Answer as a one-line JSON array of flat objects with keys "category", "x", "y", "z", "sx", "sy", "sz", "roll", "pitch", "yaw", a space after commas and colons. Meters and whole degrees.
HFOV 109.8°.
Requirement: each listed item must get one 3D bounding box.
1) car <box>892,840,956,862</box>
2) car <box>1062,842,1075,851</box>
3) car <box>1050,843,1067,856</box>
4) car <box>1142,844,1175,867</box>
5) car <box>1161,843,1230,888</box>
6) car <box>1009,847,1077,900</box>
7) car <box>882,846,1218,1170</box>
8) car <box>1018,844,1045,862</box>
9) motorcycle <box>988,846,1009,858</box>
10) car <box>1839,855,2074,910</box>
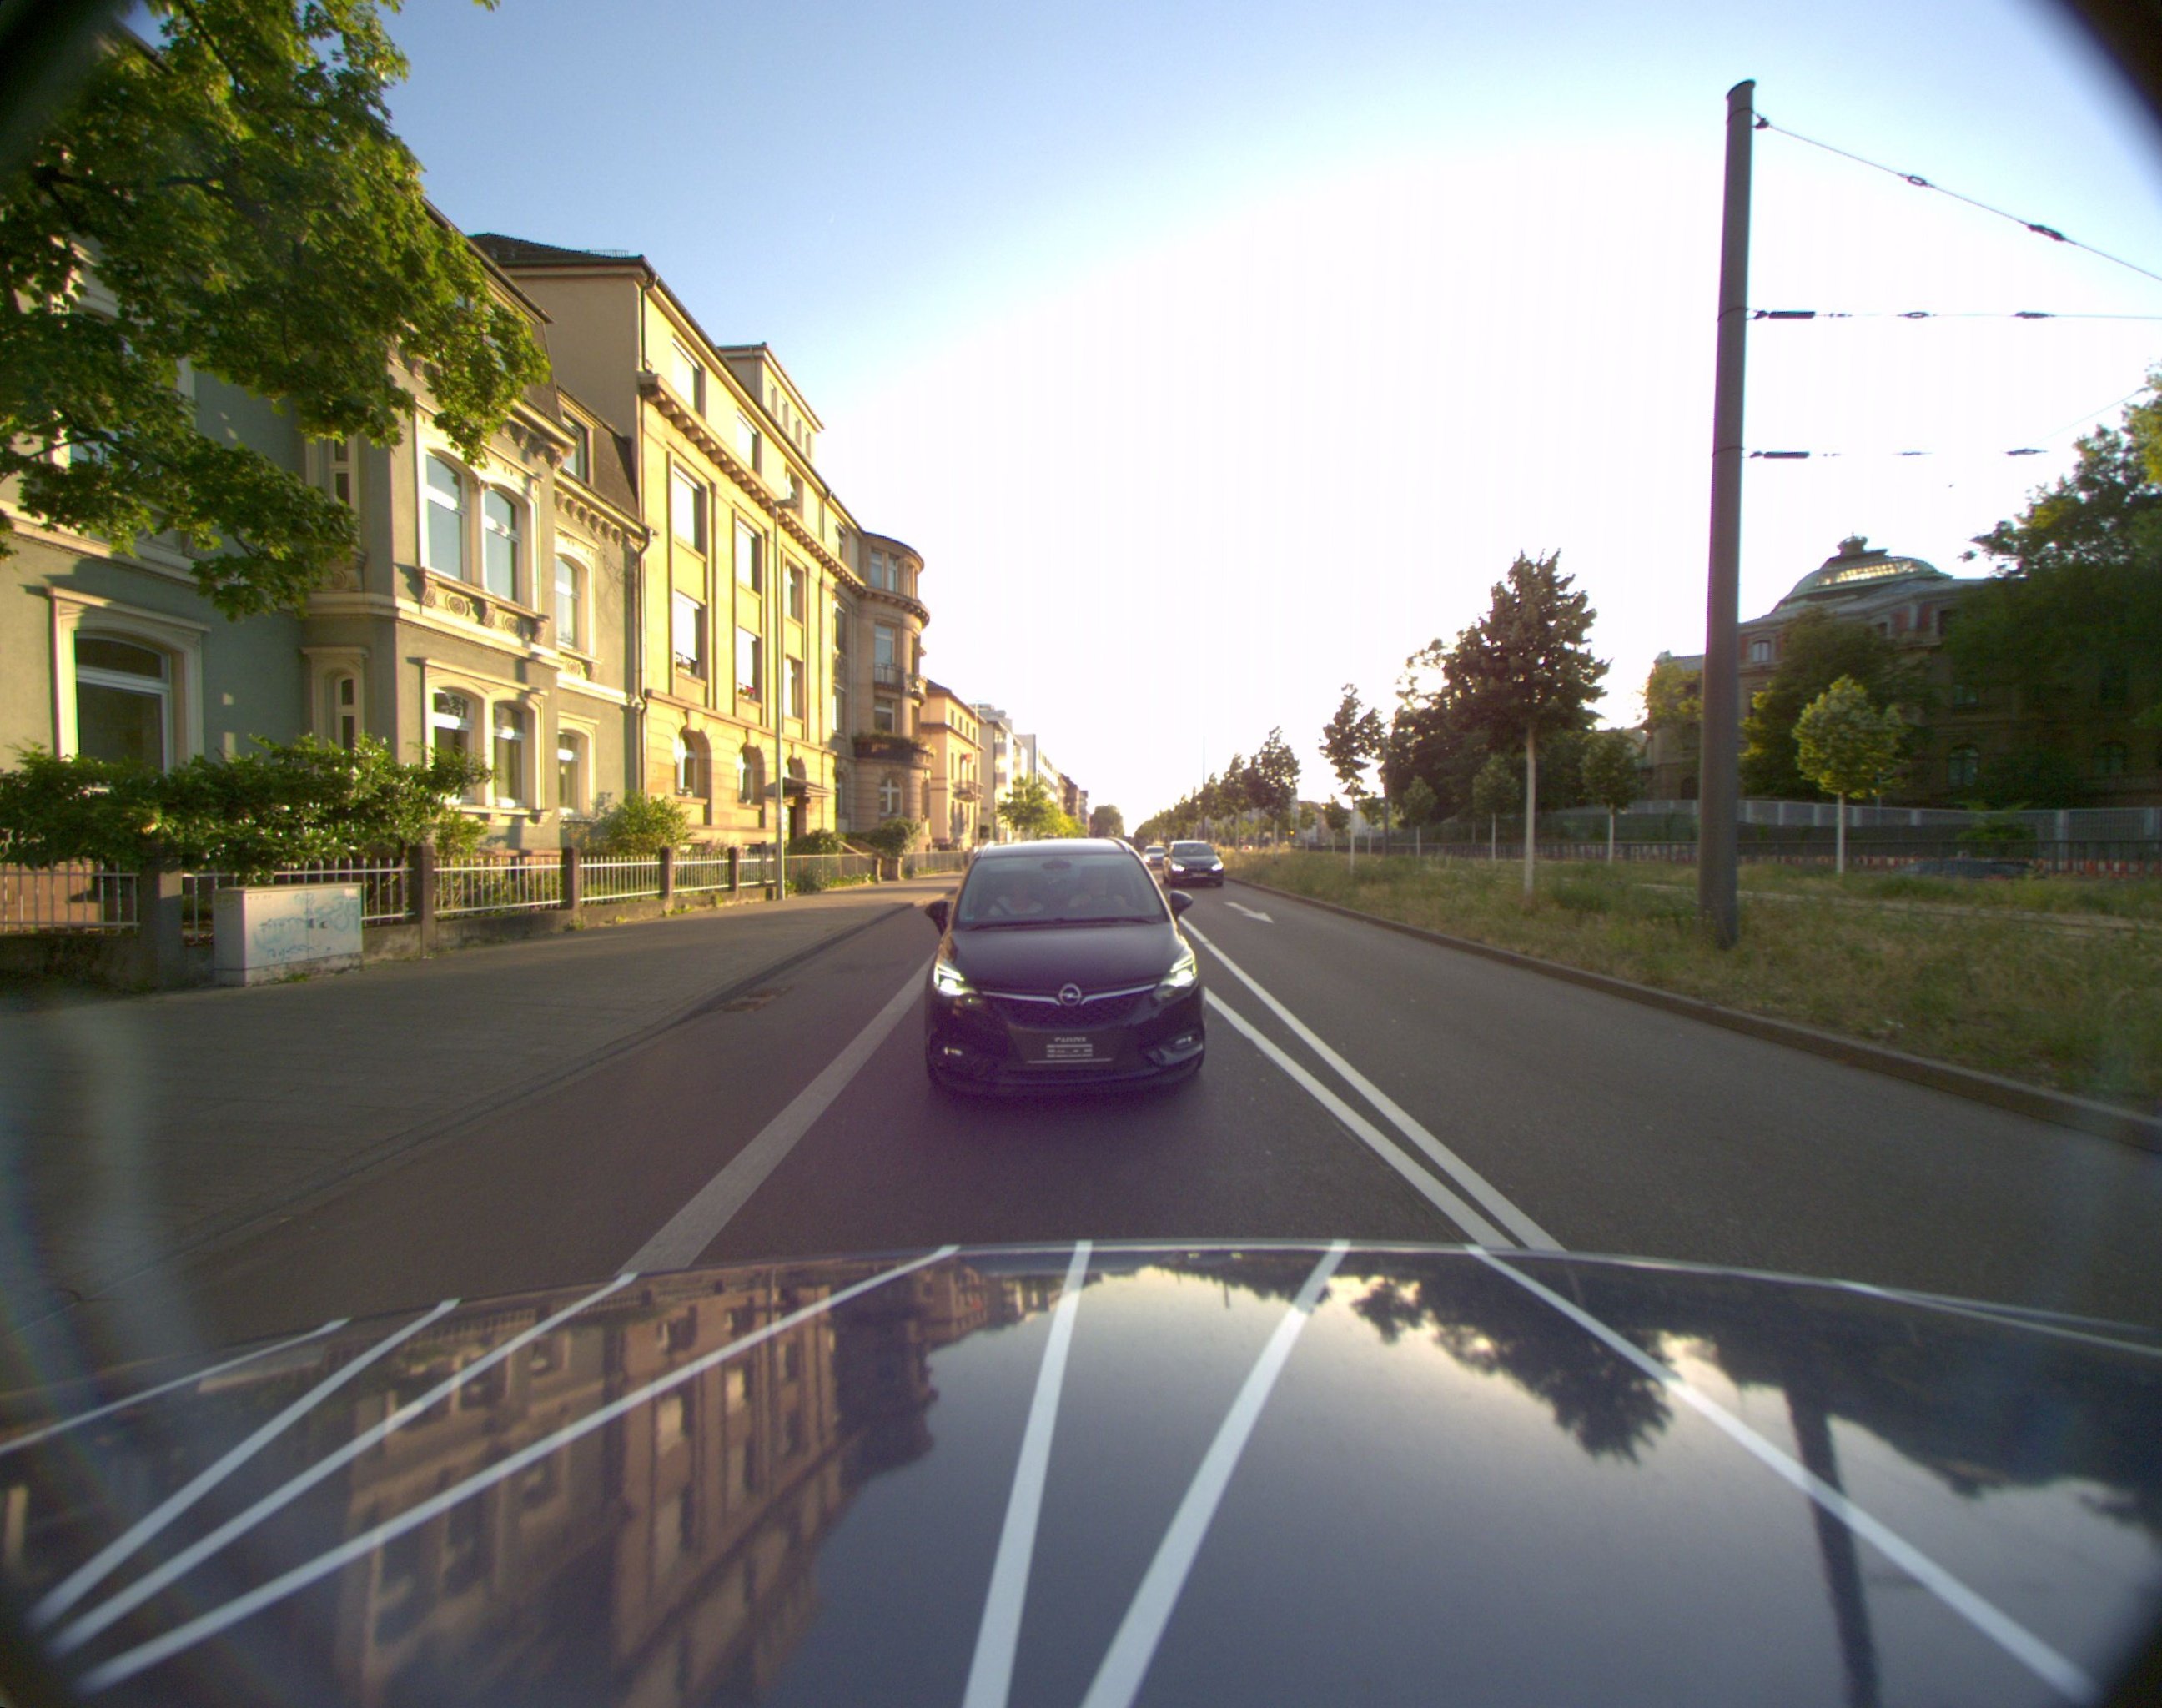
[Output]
[{"category": "car", "x": -11.188, "y": -0.208, "z": 54.213, "sx": 4.096, "sy": 1.473, "sz": 1.938, "roll": -1, "pitch": 1, "yaw": 2}, {"category": "car", "x": -2.001, "y": -1.226, "z": 122.120, "sx": 1.937, "sy": 1.473, "sz": 4.100, "roll": -1, "pitch": 1, "yaw": 1}, {"category": "car", "x": -2.700, "y": -0.543, "z": 92.279, "sx": 1.937, "sy": 1.473, "sz": 4.100, "roll": -1, "pitch": 1, "yaw": 1}, {"category": "car", "x": 5.014, "y": 0.099, "z": 49.951, "sx": 1.859, "sy": 1.425, "sz": 4.843, "roll": -2, "pitch": 0, "yaw": 3}, {"category": "car", "x": 3.956, "y": 0.376, "z": 26.976, "sx": 1.859, "sy": 1.425, "sz": 4.843, "roll": -2, "pitch": 0, "yaw": 2}, {"category": "car", "x": -1.084, "y": 0.549, "z": 23.352, "sx": 1.859, "sy": 1.425, "sz": 4.842, "roll": -2, "pitch": 0, "yaw": -1}, {"category": "car", "x": -0.295, "y": 0.793, "z": 6.486, "sx": 1.771, "sy": 1.649, "sz": 4.850, "roll": -1, "pitch": 1, "yaw": -3}, {"category": "car", "x": -4.058, "y": -0.097, "z": 63.231, "sx": 1.882, "sy": 1.394, "sz": 4.100, "roll": -1, "pitch": 1, "yaw": 1}, {"category": "motorcycle", "x": -7.695, "y": -0.228, "z": 70.552, "sx": 1.848, "sy": 1.091, "sz": 0.576, "roll": -1, "pitch": 1, "yaw": 7}, {"category": "car", "x": 26.158, "y": 0.785, "z": 23.018, "sx": 1.998, "sy": 1.472, "sz": 4.523, "roll": -2, "pitch": 0, "yaw": 2}]
